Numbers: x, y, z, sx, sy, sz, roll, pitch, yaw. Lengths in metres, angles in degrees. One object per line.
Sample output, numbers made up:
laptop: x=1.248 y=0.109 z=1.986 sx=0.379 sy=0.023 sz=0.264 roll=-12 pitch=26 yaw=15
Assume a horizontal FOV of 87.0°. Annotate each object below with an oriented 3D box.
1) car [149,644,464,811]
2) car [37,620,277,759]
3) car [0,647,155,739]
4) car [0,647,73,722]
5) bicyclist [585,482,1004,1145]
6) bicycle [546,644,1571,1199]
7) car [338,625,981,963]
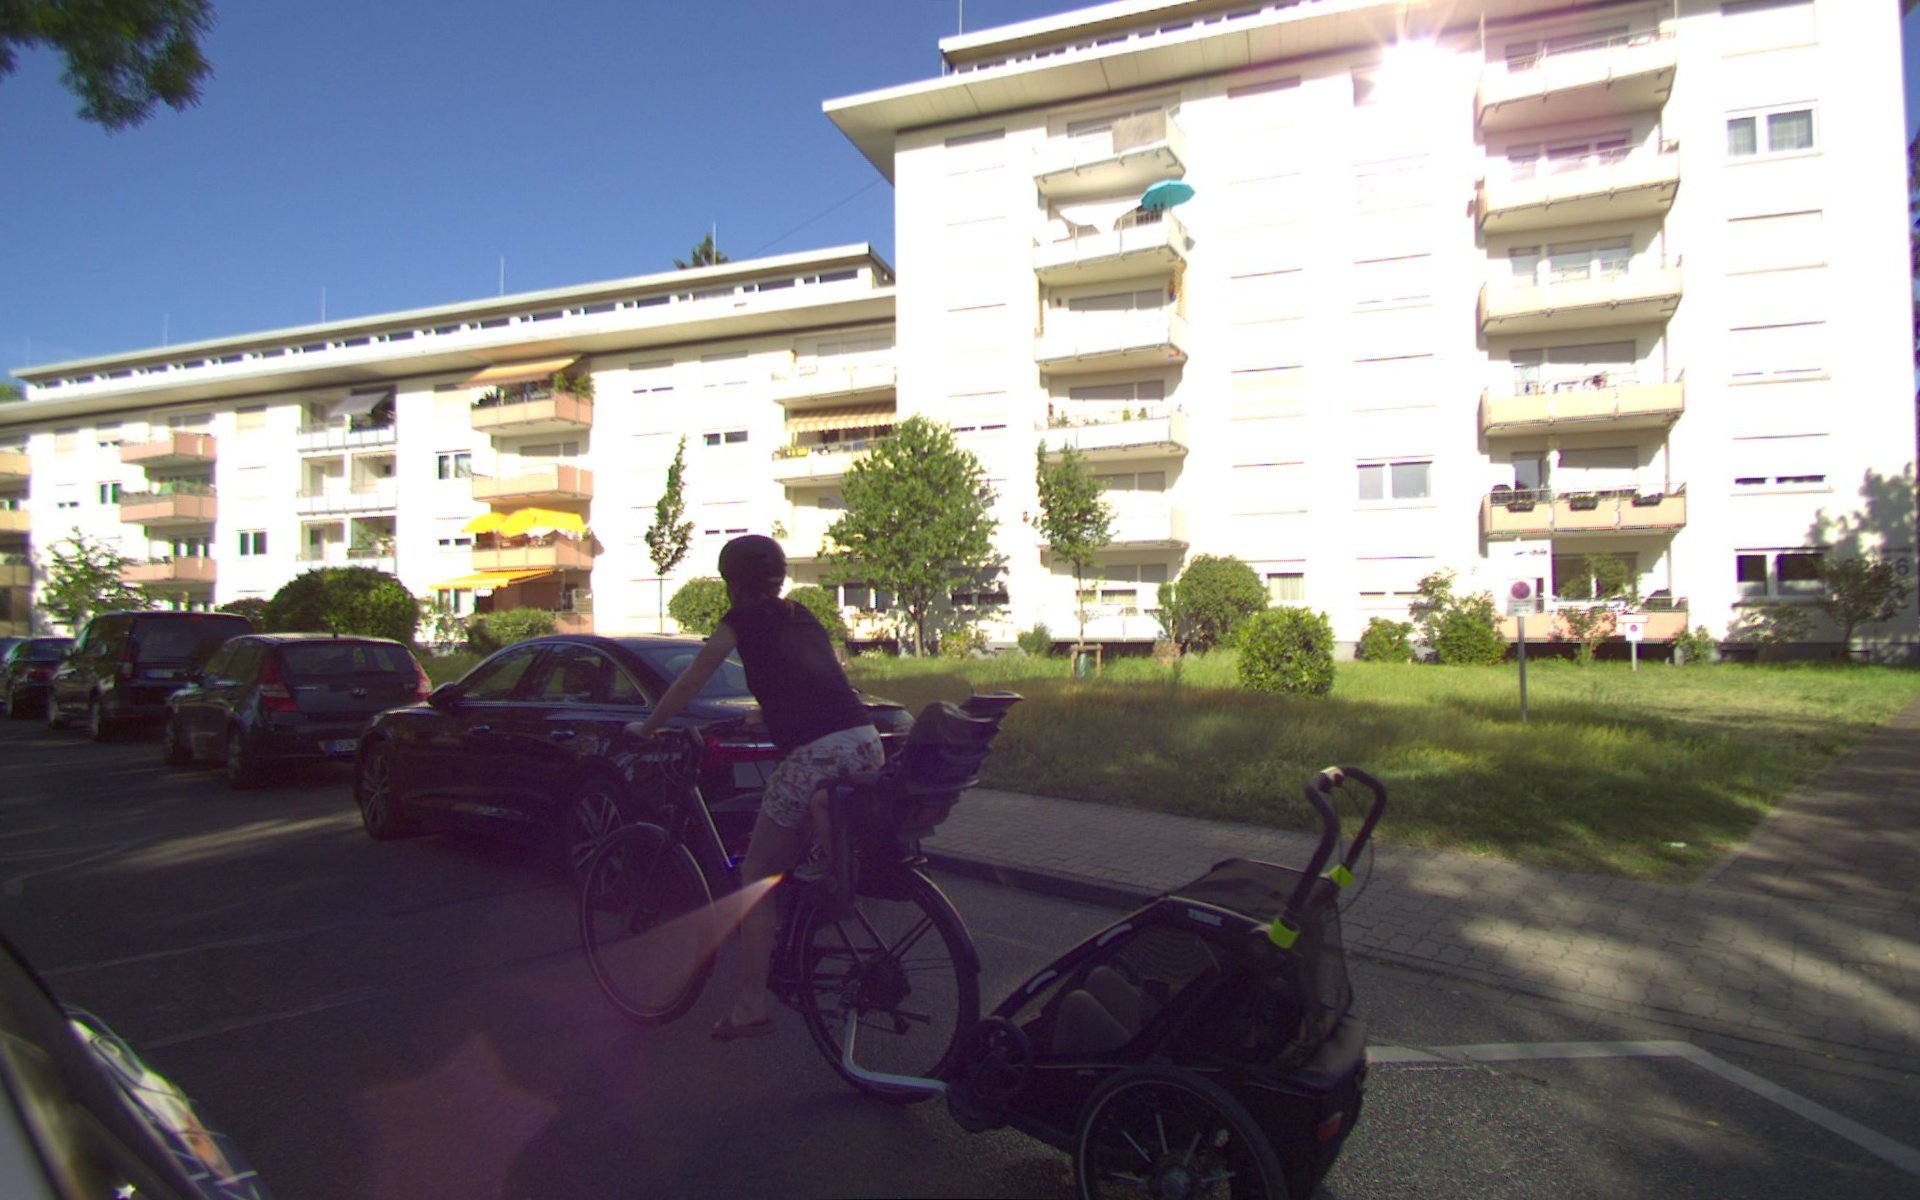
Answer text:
car: x=-7.159 y=1.216 z=10.937 sx=4.016 sy=1.465 sz=1.820 roll=-2 pitch=-4 yaw=42
car: x=-12.263 y=1.242 z=15.332 sx=4.883 sy=1.794 sz=1.821 roll=-2 pitch=-3 yaw=40
car: x=-16.926 y=1.666 z=18.990 sx=4.569 sy=1.493 sz=1.822 roll=-2 pitch=-5 yaw=39
car: x=-21.481 y=1.811 z=22.421 sx=4.793 sy=1.493 sz=1.822 roll=-2 pitch=-3 yaw=38
bicyclist: x=-0.539 y=0.550 z=3.231 sx=1.064 sy=1.671 sz=0.836 roll=-2 pitch=-2 yaw=41
bicycle: x=-0.077 y=0.846 z=3.089 sx=3.218 sy=1.381 sz=0.842 roll=-2 pitch=-2 yaw=41
car: x=-2.224 y=0.961 z=6.611 sx=4.677 sy=1.475 sz=1.710 roll=-3 pitch=-4 yaw=40
